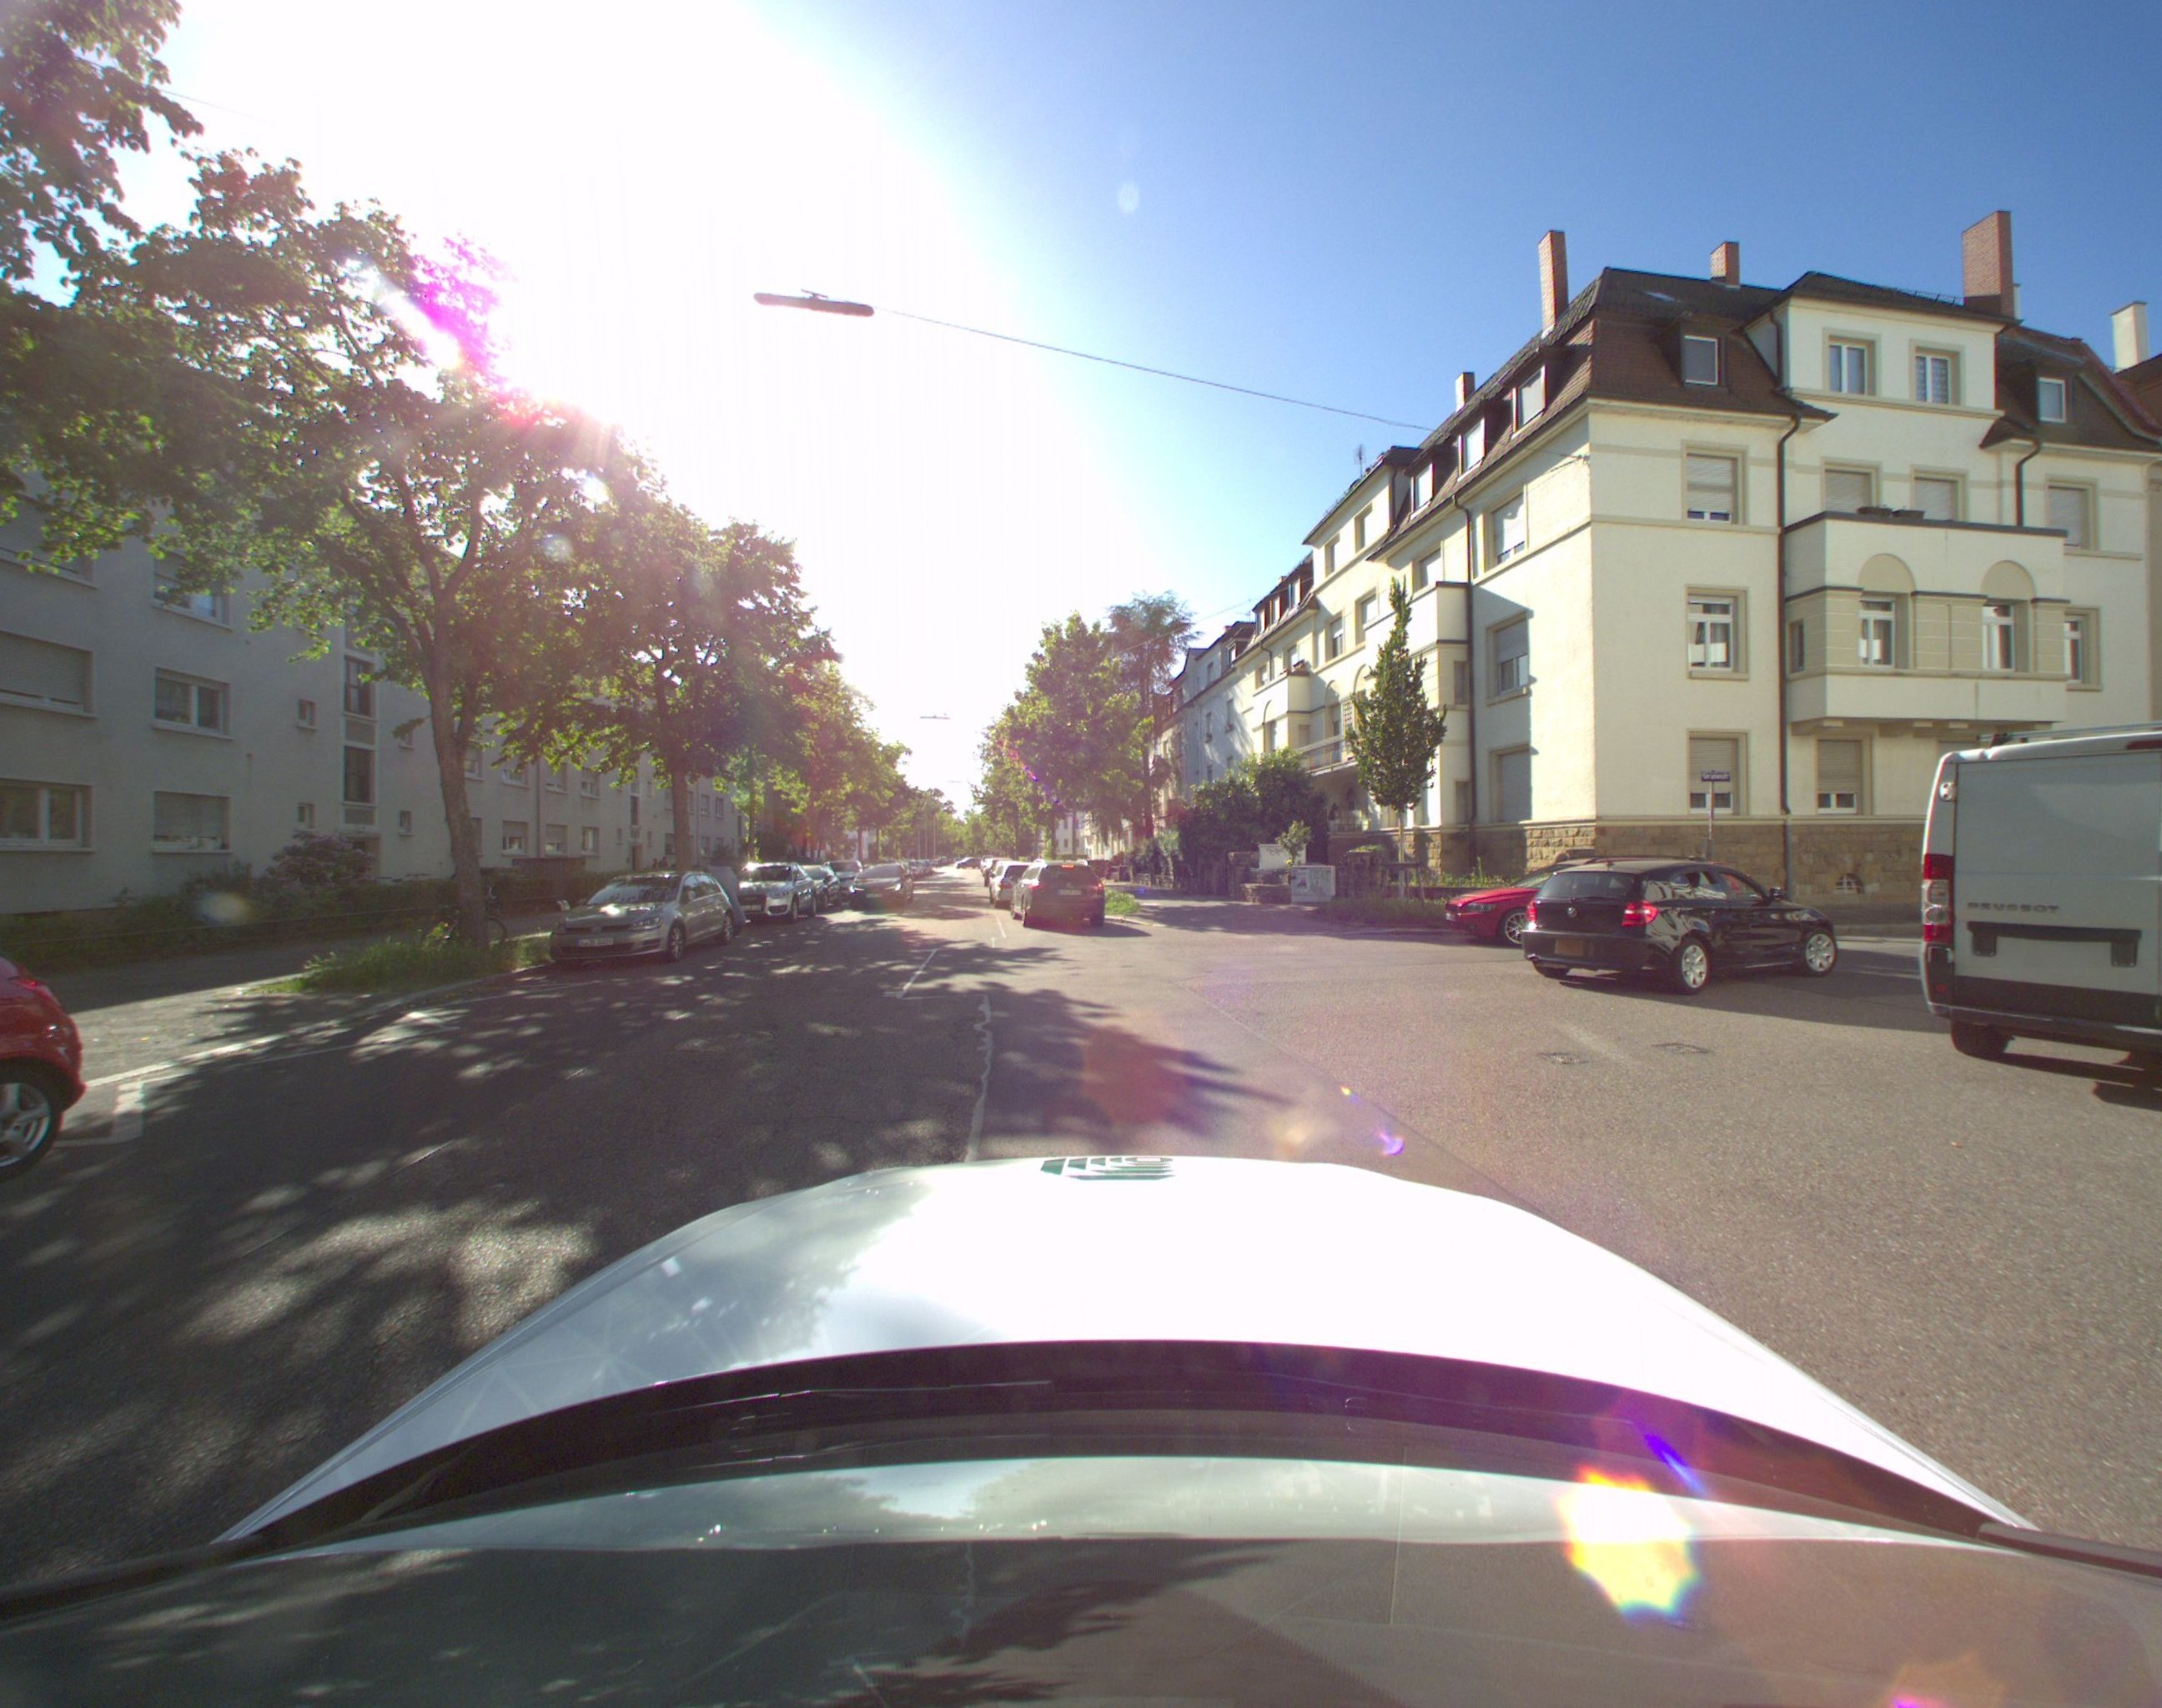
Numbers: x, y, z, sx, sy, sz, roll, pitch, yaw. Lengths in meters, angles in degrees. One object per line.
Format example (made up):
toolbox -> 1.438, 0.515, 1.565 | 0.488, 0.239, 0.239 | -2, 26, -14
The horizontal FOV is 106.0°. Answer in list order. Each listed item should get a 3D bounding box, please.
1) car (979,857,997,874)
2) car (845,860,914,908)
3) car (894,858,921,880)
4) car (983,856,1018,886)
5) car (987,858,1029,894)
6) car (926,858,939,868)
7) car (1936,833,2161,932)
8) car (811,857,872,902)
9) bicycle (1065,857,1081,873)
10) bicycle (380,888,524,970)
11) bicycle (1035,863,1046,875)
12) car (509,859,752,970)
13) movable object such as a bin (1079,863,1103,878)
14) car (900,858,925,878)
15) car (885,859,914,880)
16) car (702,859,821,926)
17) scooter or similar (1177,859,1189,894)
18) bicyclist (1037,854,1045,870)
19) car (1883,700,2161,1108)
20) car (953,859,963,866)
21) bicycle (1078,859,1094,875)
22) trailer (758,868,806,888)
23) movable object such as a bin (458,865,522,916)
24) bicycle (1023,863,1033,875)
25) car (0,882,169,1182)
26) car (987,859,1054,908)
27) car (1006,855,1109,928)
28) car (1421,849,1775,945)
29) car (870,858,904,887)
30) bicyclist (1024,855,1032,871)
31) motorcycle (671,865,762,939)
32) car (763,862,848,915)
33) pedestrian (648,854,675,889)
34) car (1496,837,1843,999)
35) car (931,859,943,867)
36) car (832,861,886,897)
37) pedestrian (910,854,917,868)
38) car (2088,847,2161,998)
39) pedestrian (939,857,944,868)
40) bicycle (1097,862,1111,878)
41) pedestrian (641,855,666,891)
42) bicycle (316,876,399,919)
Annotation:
car -> -11.133, 1.334, 97.165 | 1.970, 1.949, 4.971 | -1, 0, -8
car -> -6.748, 0.950, 27.721 | 1.808, 1.445, 4.353 | -2, 0, -9
car -> -13.887, 1.184, 65.366 | 1.810, 1.596, 4.221 | -2, 0, -8
car -> -4.689, 0.941, 47.406 | 1.923, 1.652, 5.084 | 1, 0, -6
car -> -3.438, 0.985, 37.931 | 1.653, 1.532, 3.957 | 2, -1, -9
car -> -25.338, 1.572, 139.231 | 1.992, 1.671, 3.990 | -1, 0, -8
car -> 18.525, 0.457, 14.984 | 4.170, 1.641, 1.828 | -1, 0, -10
car -> -9.754, 0.991, 33.472 | 1.728, 1.618, 4.353 | -4, 0, -9
bicycle -> -0.645, 0.895, 65.325 | 0.839, 1.257, 2.222 | 0, -1, -11
bicycle -> -9.572, 1.100, 12.506 | 0.529, 1.015, 2.089 | 6, 0, -2
bicycle -> -4.017, 1.449, 80.871 | 0.684, 1.153, 2.394 | -1, 0, -11
car -> -7.428, 0.881, 14.077 | 2.041, 1.524, 4.595 | -1, 0, -7
movable object such as a bin -> 0.675, 1.048, 53.051 | 1.213, 0.905, 1.670 | -1, 0, 13
car -> -14.716, 1.199, 71.328 | 1.709, 1.544, 3.920 | -3, 0, -7
car -> -13.396, 1.132, 60.297 | 1.761, 1.443, 3.897 | -3, 0, -8
car -> -8.383, 0.924, 21.830 | 2.064, 1.524, 4.704 | -1, 0, -11
scooter or similar -> 3.678, 0.798, 29.281 | 0.399, 1.185, 1.208 | -1, 0, 8
bicyclist -> -3.988, 0.794, 80.676 | 0.676, 1.553, 1.018 | -1, 0, -11
car -> 8.249, 0.244, 5.948 | 5.073, 2.306, 2.212 | -1, 0, -31
car -> -26.445, 1.830, 174.817 | 1.784, 1.609, 3.984 | -1, 0, -12
bicycle -> 0.378, 0.949, 58.471 | 0.804, 1.115, 1.993 | 0, -1, -10
trailer -> -17.204, 1.367, 47.001 | 1.786, 1.034, 3.275 | -1, 0, -6
movable object such as a bin -> -16.234, 0.976, 22.417 | 0.931, 1.324, 1.373 | -1, 0, -13
bicycle -> -5.268, 1.447, 81.049 | 0.684, 1.153, 2.394 | -1, 0, -11
car -> -6.159, 0.913, 2.704 | 1.855, 1.469, 4.171 | -1, 0, -7
car -> -2.123, 0.917, 27.324 | 1.821, 1.469, 4.894 | 1, 0, -9
car -> -0.712, 0.829, 19.684 | 1.895, 1.524, 4.951 | 0, -1, -9
car -> 8.532, 0.695, 13.860 | 4.693, 1.469, 1.957 | -1, -1, 6
car -> -12.026, 1.119, 50.724 | 1.790, 1.566, 4.449 | -4, 0, -11
bicyclist -> -5.259, 0.872, 80.991 | 0.677, 1.609, 0.918 | -1, 0, -11
motorcycle -> -8.021, 1.013, 17.874 | 2.205, 1.503, 0.996 | -2, 0, 42
car -> -8.992, 1.064, 26.966 | 1.727, 1.446, 4.807 | -3, 0, -8
pedestrian -> -23.298, 0.952, 45.255 | 0.929, 1.888, 1.026 | -1, 0, 2
car -> 7.074, 0.623, 9.744 | 4.010, 1.523, 1.772 | -2, 0, -28
car -> -27.291, 1.676, 154.354 | 1.992, 1.585, 3.990 | -1, 0, -8
car -> -10.472, 1.139, 38.749 | 1.727, 1.477, 4.607 | -4, 0, -7
pedestrian -> -24.073, 0.959, 117.019 | 0.856, 2.013, 0.981 | -1, 0, 1
car -> 13.123, 0.633, 7.935 | 4.927, 1.469, 2.041 | -1, 0, -10
pedestrian -> -24.057, 1.457, 140.871 | 0.717, 1.900, 0.832 | -1, 0, -17
bicycle -> 1.380, 0.966, 49.619 | 0.580, 0.975, 1.899 | -2, 0, -6
pedestrian -> -23.167, 1.033, 44.125 | 0.774, 1.913, 0.883 | -2, 0, 19
bicycle -> -19.429, 1.145, 21.930 | 0.787, 1.041, 1.927 | -1, 0, -12
